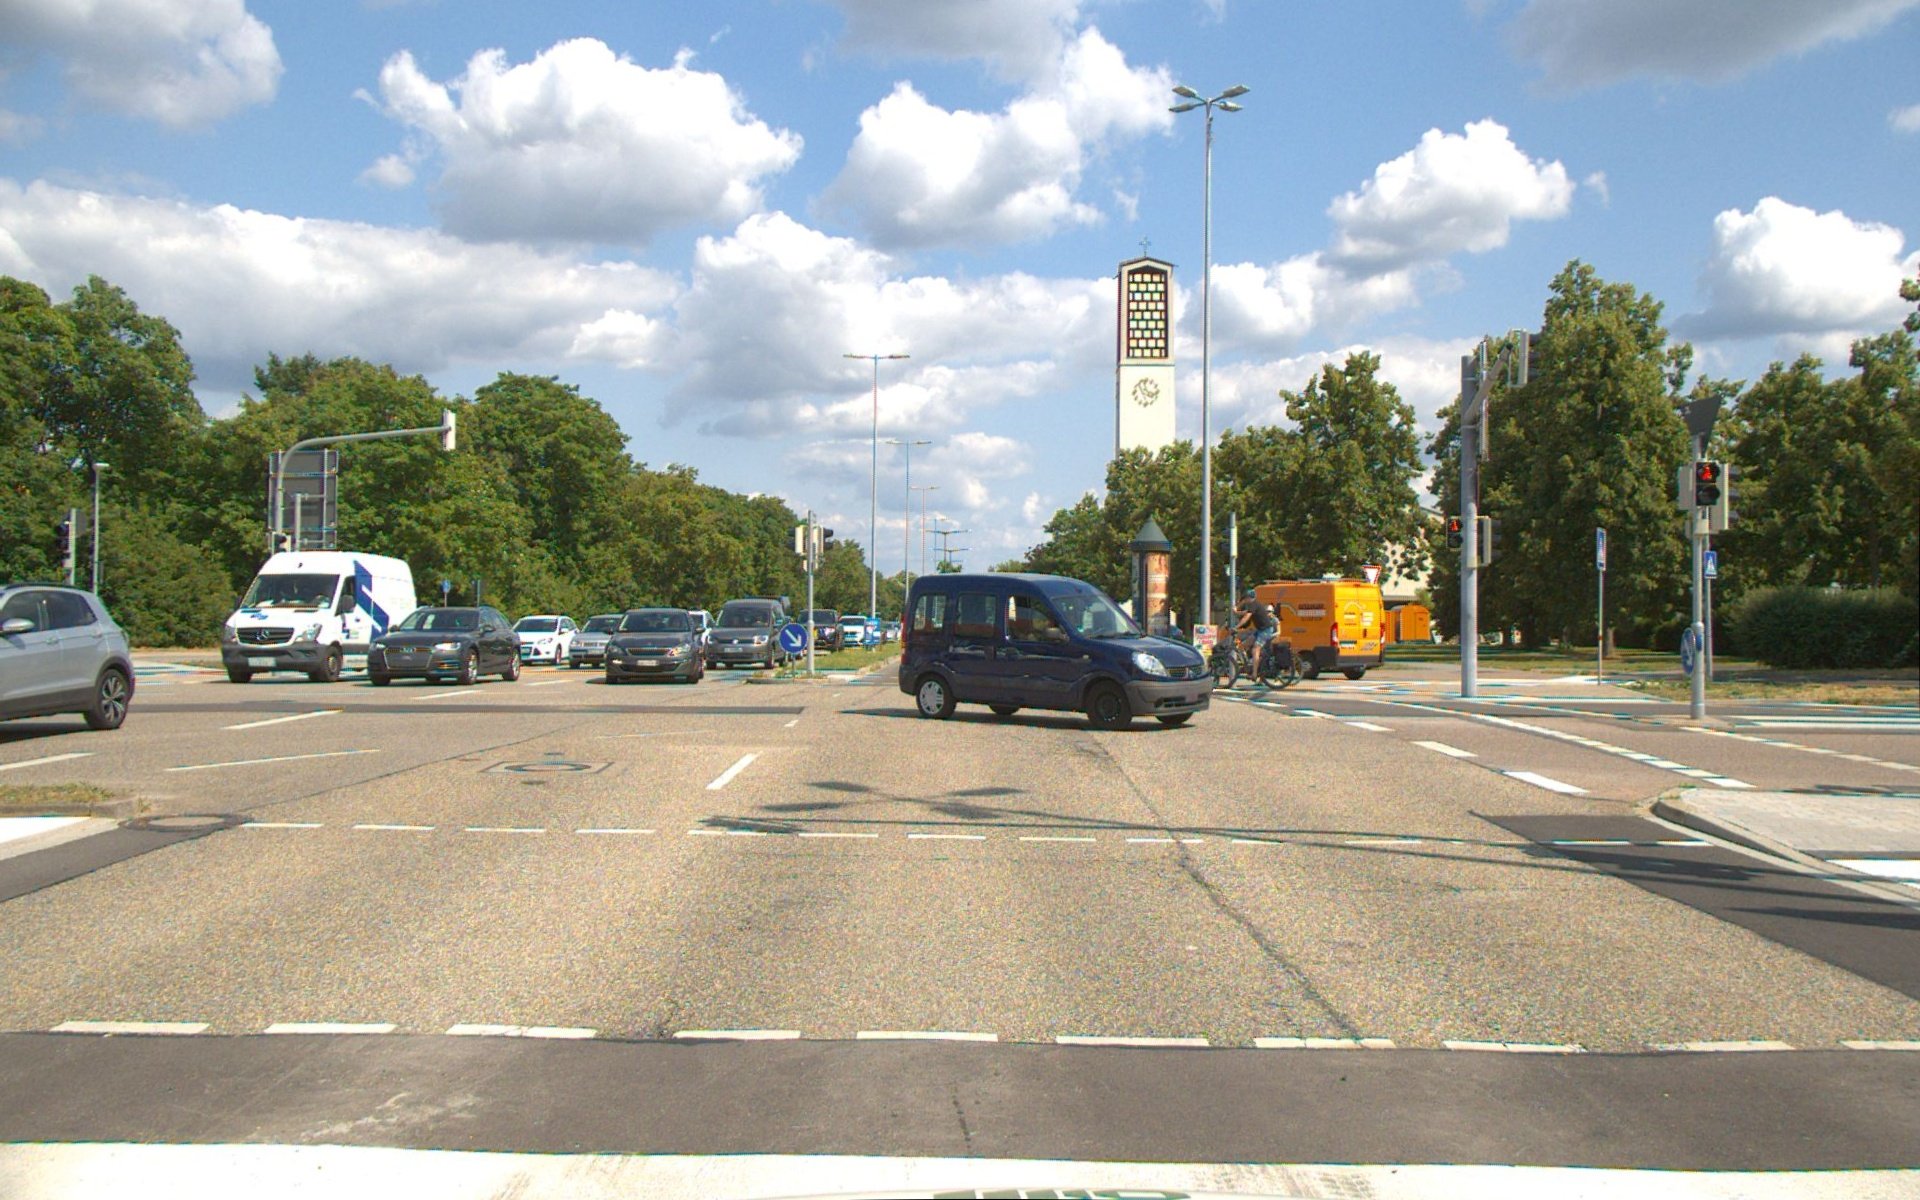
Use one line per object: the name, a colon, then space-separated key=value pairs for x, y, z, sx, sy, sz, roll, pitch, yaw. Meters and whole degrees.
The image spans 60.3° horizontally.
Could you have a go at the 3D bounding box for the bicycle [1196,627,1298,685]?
bicycle: x=5.735 y=1.117 z=33.127 sx=1.955 sy=1.113 sz=0.686 roll=1 pitch=-1 yaw=3

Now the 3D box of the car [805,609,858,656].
car: x=-4.911 y=1.227 z=63.483 sx=1.699 sy=1.689 sz=4.230 roll=2 pitch=-1 yaw=-1

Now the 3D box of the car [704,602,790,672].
car: x=-5.602 y=0.936 z=43.846 sx=1.699 sy=1.689 sz=4.230 roll=2 pitch=0 yaw=-1

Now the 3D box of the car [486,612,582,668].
car: x=-12.680 y=1.183 z=49.431 sx=1.820 sy=1.539 sz=3.999 roll=2 pitch=-1 yaw=-1

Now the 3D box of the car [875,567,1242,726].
car: x=1.125 y=0.518 z=20.010 sx=4.148 sy=1.689 sz=1.733 roll=2 pitch=-1 yaw=37

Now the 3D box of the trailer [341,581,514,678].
trailer: x=-12.407 y=0.702 z=38.943 sx=2.080 sy=2.049 sz=5.163 roll=2 pitch=-1 yaw=3

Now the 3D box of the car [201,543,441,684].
car: x=-12.689 y=0.299 z=33.376 sx=2.128 sy=2.514 sz=5.969 roll=2 pitch=-1 yaw=3

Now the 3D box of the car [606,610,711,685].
car: x=-5.858 y=0.908 z=32.469 sx=1.537 sy=1.339 sz=3.430 roll=2 pitch=-1 yaw=-3

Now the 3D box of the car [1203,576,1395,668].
car: x=8.987 y=0.547 z=44.195 sx=2.186 sy=2.265 sz=4.800 roll=3 pitch=-1 yaw=-35

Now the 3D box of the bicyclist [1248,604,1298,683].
bicyclist: x=6.606 y=0.908 z=34.930 sx=0.689 sy=1.644 sz=0.791 roll=1 pitch=-1 yaw=-24

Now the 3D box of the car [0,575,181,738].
car: x=-10.002 y=0.533 z=16.972 sx=1.698 sy=1.570 sz=4.310 roll=2 pitch=-1 yaw=3

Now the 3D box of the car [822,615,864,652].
car: x=-5.717 y=1.631 z=81.240 sx=1.699 sy=1.689 sz=4.230 roll=2 pitch=-1 yaw=0

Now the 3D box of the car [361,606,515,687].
car: x=-9.486 y=0.832 z=30.299 sx=1.728 sy=1.375 sz=3.518 roll=1 pitch=-1 yaw=-1

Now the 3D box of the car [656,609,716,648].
car: x=-9.543 y=0.987 z=57.791 sx=1.516 sy=1.238 sz=3.489 roll=2 pitch=-1 yaw=-1

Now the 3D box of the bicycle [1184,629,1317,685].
bicycle: x=6.103 y=1.195 z=34.702 sx=2.796 sy=1.131 sz=0.791 roll=1 pitch=0 yaw=-25

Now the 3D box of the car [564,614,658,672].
car: x=-9.417 y=1.143 z=44.866 sx=1.690 sy=1.422 sz=3.999 roll=2 pitch=-1 yaw=-1

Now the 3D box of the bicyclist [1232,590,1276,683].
bicyclist: x=5.883 y=0.722 z=33.119 sx=0.770 sy=1.836 sz=0.686 roll=1 pitch=-1 yaw=4
